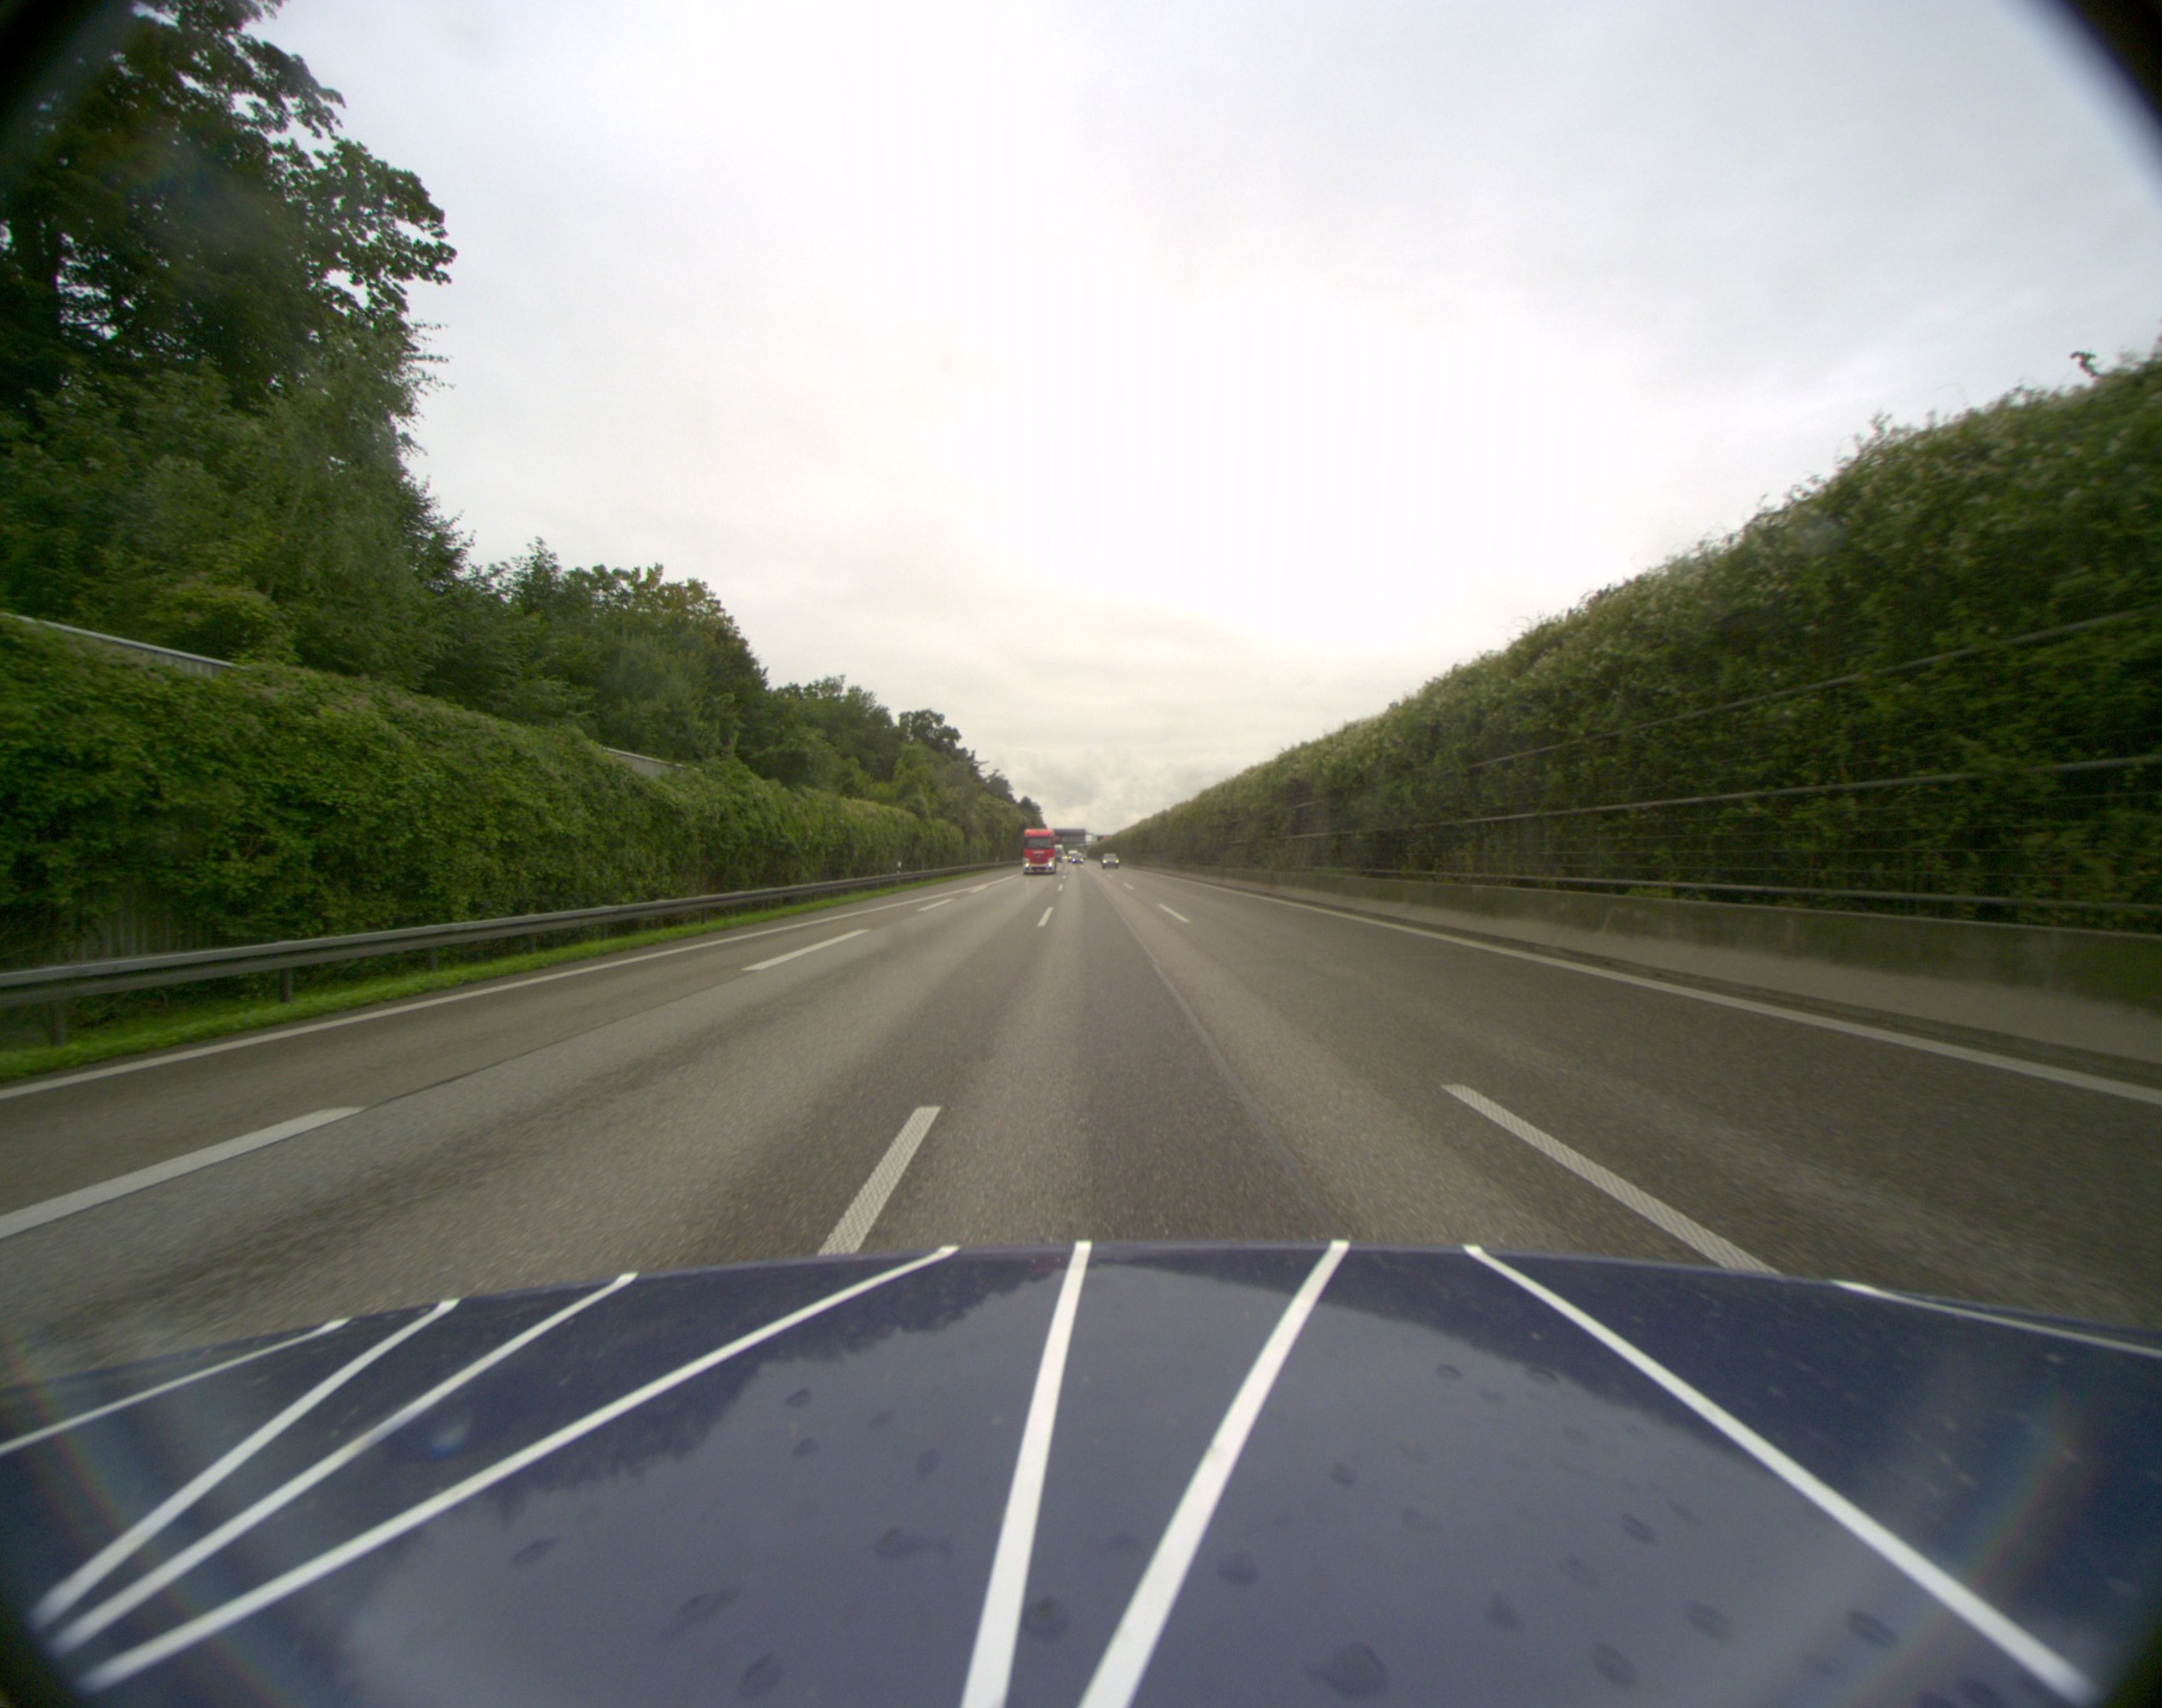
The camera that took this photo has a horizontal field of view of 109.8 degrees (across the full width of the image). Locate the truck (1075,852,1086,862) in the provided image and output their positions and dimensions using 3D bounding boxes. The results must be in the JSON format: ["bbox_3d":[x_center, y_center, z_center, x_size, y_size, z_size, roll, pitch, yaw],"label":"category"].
[{"bbox_3d":[-0.113,0.490,133.627,1.825,1.535,3.998,-2,2,-2],"label":"truck"}]

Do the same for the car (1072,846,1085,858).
[{"bbox_3d":[-0.563,-0.442,158.703,2.769,2.227,6.545,-2,1,-1],"label":"car"}]

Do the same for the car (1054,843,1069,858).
[{"bbox_3d":[-4.306,-0.768,165.801,3.039,3.278,6.732,-2,1,-1],"label":"car"}]

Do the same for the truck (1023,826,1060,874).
[{"bbox_3d":[-3.207,-0.404,62.663,2.709,3.809,4.197,-1,2,0],"label":"truck"}]

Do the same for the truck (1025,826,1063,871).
[{"bbox_3d":[-3.156,-0.585,67.367,2.709,3.691,9.838,-1,2,0],"label":"truck"}]

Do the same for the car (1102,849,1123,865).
[{"bbox_3d":[3.558,0.283,87.925,2.023,1.595,5.438,-3,1,-1],"label":"car"}]
